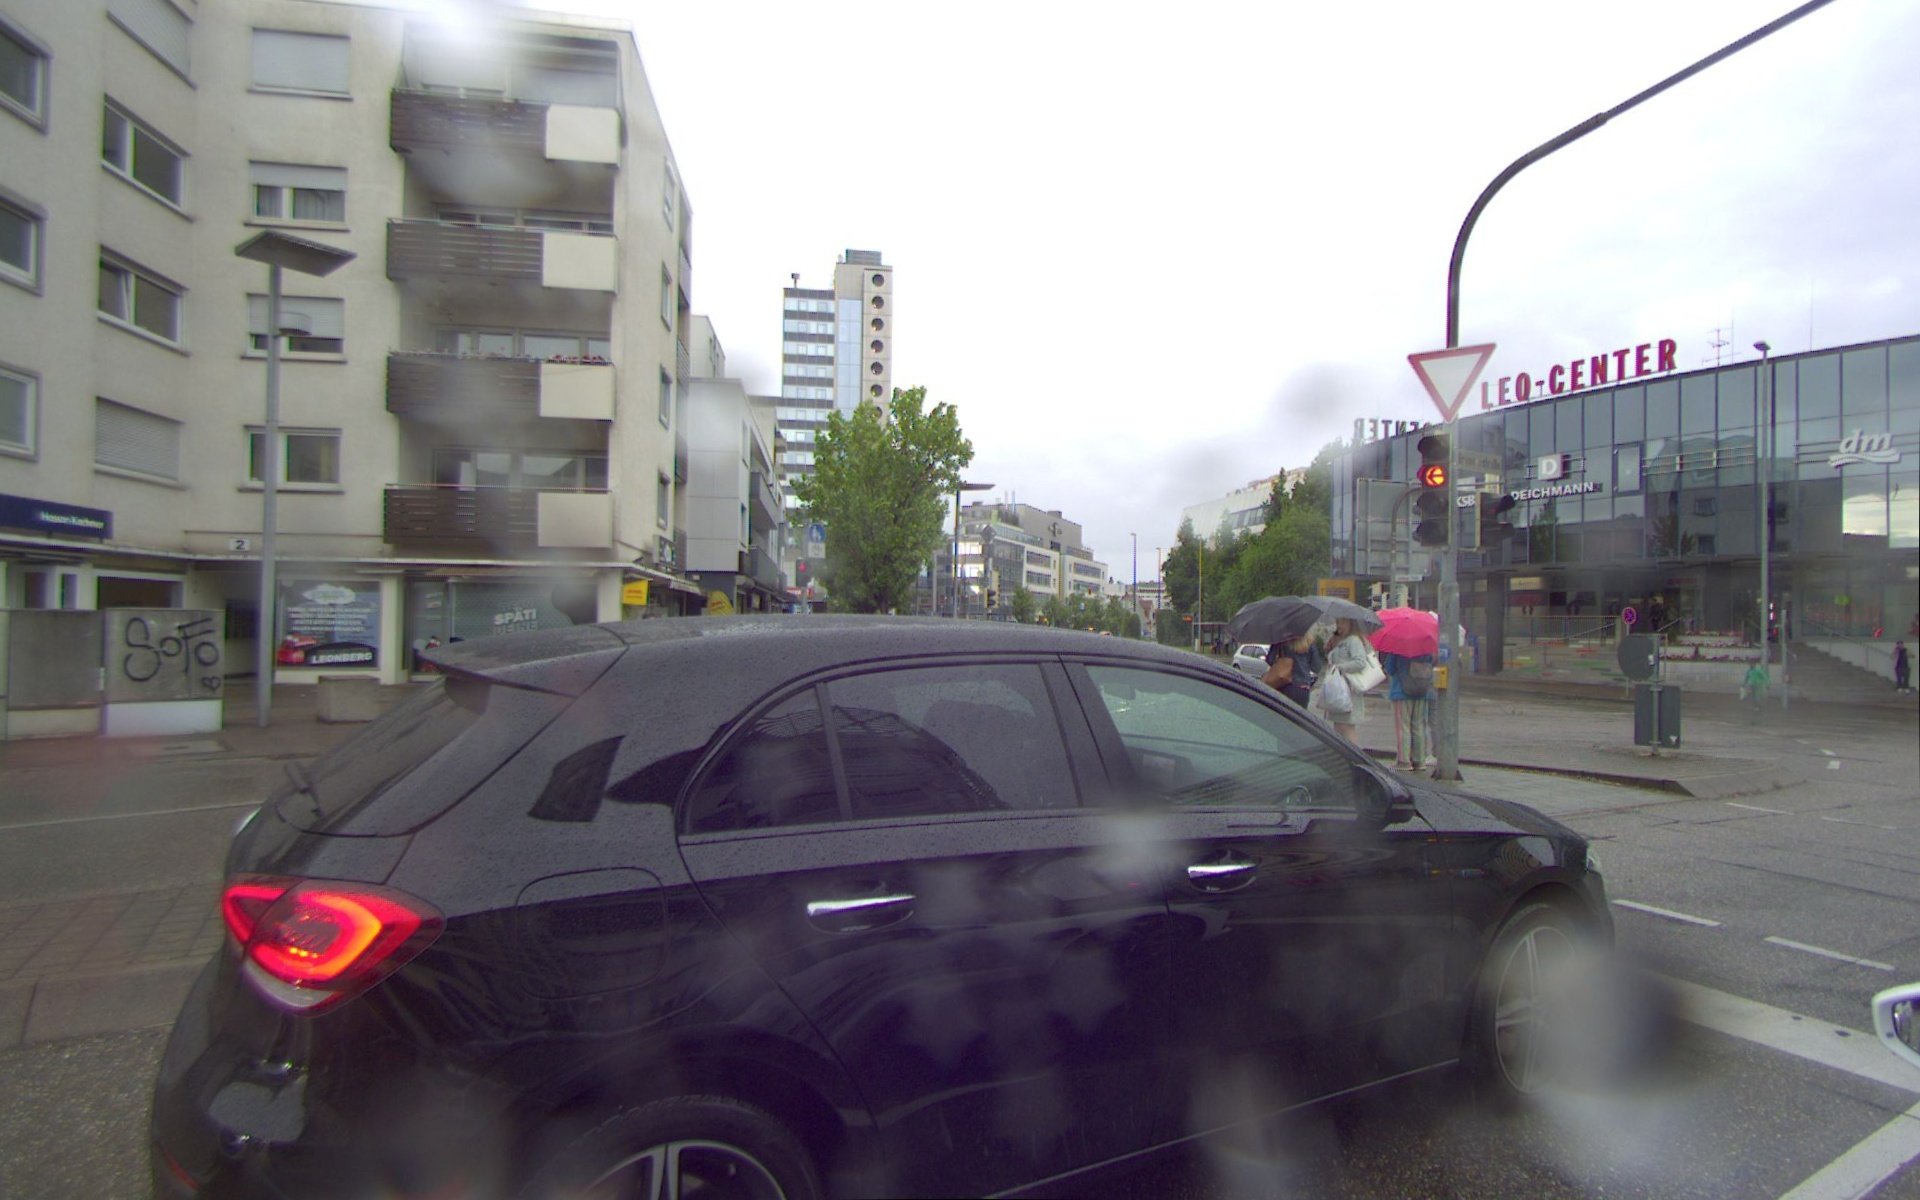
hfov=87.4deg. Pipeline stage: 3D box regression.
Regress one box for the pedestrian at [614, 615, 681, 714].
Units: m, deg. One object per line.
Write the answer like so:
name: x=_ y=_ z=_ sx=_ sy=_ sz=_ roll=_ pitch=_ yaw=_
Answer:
pedestrian: x=-5.221 y=1.062 z=16.792 sx=0.904 sy=1.606 sz=0.651 roll=2 pitch=-2 yaw=-33

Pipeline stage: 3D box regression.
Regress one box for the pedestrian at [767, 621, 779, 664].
pedestrian: x=-7.620 y=1.730 z=40.975 sx=0.441 sy=1.746 sz=0.499 roll=1 pitch=-2 yaw=-12

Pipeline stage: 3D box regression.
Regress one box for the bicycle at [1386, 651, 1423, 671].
bicycle: x=23.701 y=3.260 z=53.553 sx=1.821 sy=0.964 sz=0.535 roll=-1 pitch=0 yaw=-8

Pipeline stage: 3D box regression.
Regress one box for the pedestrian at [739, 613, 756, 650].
pedestrian: x=-11.864 y=1.739 z=56.056 sx=0.859 sy=2.040 sz=0.923 roll=1 pitch=-1 yaw=-10

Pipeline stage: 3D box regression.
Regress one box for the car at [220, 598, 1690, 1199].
car: x=0.339 y=0.785 z=3.075 sx=4.048 sy=1.501 sz=1.654 roll=1 pitch=1 yaw=-32

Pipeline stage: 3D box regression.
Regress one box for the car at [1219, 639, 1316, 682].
car: x=11.800 y=2.297 z=38.775 sx=1.717 sy=1.460 sz=3.980 roll=2 pitch=-1 yaw=-15

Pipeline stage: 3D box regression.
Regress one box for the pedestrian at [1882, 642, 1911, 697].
pedestrian: x=34.138 y=2.525 z=36.605 sx=0.589 sy=1.933 sz=0.651 roll=2 pitch=-1 yaw=-37

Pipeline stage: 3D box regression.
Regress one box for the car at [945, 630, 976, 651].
car: x=-0.009 y=2.688 z=67.276 sx=1.414 sy=1.314 sz=3.770 roll=2 pitch=-1 yaw=-11

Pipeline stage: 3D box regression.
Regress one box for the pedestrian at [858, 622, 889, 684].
pedestrian: x=-2.392 y=1.475 z=27.926 sx=0.799 sy=1.677 sz=0.714 roll=1 pitch=-2 yaw=-3

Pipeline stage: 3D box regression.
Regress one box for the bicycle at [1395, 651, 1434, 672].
bicycle: x=23.930 y=3.226 z=52.887 sx=1.822 sy=1.047 sz=0.628 roll=-1 pitch=-1 yaw=-12

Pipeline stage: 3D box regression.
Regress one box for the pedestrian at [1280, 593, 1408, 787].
pedestrian: x=3.722 y=0.846 z=9.835 sx=0.843 sy=1.767 sz=1.139 roll=1 pitch=-2 yaw=3

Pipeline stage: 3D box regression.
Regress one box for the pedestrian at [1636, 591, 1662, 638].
pedestrian: x=30.321 y=0.634 z=44.193 sx=0.820 sy=2.040 sz=0.948 roll=2 pitch=0 yaw=39

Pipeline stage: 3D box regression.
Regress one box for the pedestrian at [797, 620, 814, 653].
pedestrian: x=-8.697 y=2.053 z=56.503 sx=0.859 sy=1.835 sz=0.923 roll=1 pitch=-1 yaw=-10

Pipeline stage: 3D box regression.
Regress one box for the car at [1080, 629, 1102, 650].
car: x=12.492 y=3.773 z=96.200 sx=2.008 sy=1.921 sz=4.141 roll=1 pitch=-1 yaw=6

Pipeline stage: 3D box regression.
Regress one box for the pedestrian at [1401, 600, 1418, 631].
pedestrian: x=25.185 y=0.857 z=56.276 sx=0.642 sy=1.736 sz=0.599 roll=2 pitch=0 yaw=-6

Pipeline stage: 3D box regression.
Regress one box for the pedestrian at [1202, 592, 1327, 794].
pedestrian: x=2.840 y=0.826 z=9.339 sx=0.937 sy=1.759 sz=0.835 roll=0 pitch=-2 yaw=30

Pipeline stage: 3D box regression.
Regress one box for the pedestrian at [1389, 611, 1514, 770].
pedestrian: x=5.556 y=0.988 z=11.368 sx=0.906 sy=1.699 sz=0.931 roll=2 pitch=-2 yaw=-30

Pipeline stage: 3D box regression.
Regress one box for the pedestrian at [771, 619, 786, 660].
pedestrian: x=-8.158 y=1.777 z=45.141 sx=0.557 sy=1.817 sz=0.491 roll=1 pitch=-2 yaw=-4

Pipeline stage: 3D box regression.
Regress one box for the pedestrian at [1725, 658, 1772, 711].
pedestrian: x=25.527 y=2.721 z=32.526 sx=0.798 sy=1.644 sz=0.947 roll=2 pitch=-2 yaw=-24

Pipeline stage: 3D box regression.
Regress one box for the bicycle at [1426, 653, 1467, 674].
bicycle: x=24.483 y=3.185 z=50.521 sx=1.822 sy=1.036 sz=0.631 roll=0 pitch=-2 yaw=-12

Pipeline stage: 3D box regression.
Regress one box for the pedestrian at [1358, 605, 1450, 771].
pedestrian: x=4.773 y=0.929 z=10.826 sx=0.790 sy=1.707 sz=0.674 roll=1 pitch=-2 yaw=14

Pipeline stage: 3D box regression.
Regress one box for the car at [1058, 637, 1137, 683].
car: x=4.789 y=2.063 z=35.730 sx=2.082 sy=1.432 sz=5.147 roll=2 pitch=-2 yaw=0

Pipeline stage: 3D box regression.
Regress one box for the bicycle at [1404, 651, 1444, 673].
bicycle: x=24.083 y=3.222 z=52.145 sx=1.822 sy=1.056 sz=0.646 roll=-1 pitch=-1 yaw=-12
